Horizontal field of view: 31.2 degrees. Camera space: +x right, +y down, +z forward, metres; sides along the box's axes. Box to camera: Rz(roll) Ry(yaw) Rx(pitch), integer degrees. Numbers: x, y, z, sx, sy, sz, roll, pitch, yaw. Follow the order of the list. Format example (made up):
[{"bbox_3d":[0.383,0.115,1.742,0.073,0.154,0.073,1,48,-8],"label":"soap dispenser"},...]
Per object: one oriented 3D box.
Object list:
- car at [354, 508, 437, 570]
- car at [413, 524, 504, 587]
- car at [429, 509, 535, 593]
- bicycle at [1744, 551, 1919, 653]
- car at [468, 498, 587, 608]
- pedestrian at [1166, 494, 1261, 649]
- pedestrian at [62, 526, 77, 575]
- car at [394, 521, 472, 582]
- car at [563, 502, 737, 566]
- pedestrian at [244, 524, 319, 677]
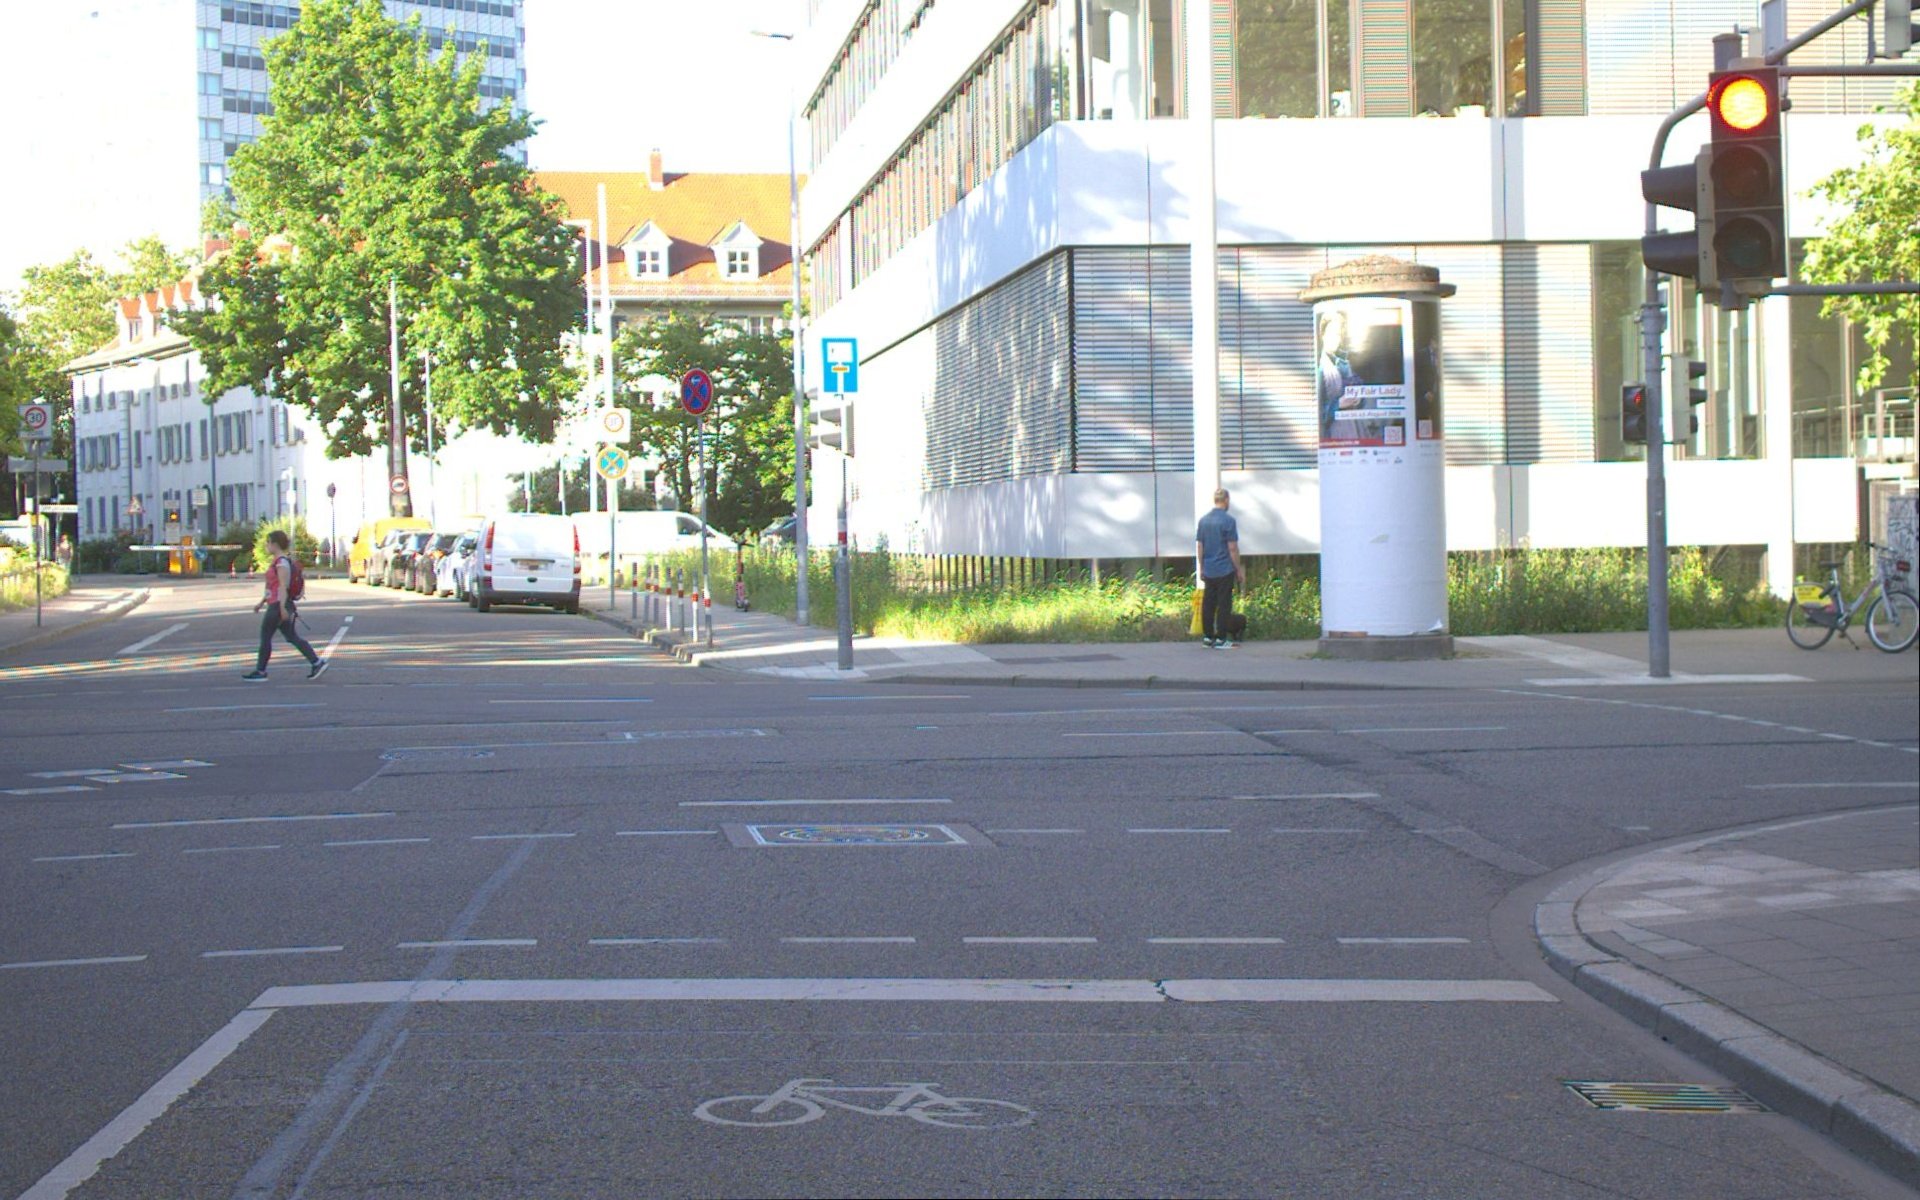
[{"bbox_3d":[-15.739,-1.708,95.646,2.100,1.652,4.477,-1,1,-11],"label":"car"},{"bbox_3d":[-11.890,-1.079,81.327,1.703,1.419,4.239,-1,1,-14],"label":"car"},{"bbox_3d":[-10.670,-1.101,76.552,1.946,1.789,4.239,-1,1,-13],"label":"car"},{"bbox_3d":[9.180,0.014,36.110,0.463,1.045,1.914,-2,2,-42],"label":"bicycle"},{"bbox_3d":[-8.167,-0.906,64.634,2.066,1.956,4.239,-1,1,-9],"label":"car"},{"bbox_3d":[2.863,-0.325,38.802,0.811,1.730,0.653,0,2,45],"label":"pedestrian"},{"bbox_3d":[-27.945,-1.551,107.893,0.380,1.529,0.446,-1,1,-12],"label":"pedestrian"},{"bbox_3d":[-13.188,-1.230,85.829,1.703,1.459,4.239,-1,1,-11],"label":"car"},{"bbox_3d":[-9.277,-1.947,102.830,4.880,1.865,2.001,0,0,-17],"label":"car"},{"bbox_3d":[-7.206,-0.003,36.542,0.711,1.594,0.617,-1,1,-8],"label":"pedestrian"}]
